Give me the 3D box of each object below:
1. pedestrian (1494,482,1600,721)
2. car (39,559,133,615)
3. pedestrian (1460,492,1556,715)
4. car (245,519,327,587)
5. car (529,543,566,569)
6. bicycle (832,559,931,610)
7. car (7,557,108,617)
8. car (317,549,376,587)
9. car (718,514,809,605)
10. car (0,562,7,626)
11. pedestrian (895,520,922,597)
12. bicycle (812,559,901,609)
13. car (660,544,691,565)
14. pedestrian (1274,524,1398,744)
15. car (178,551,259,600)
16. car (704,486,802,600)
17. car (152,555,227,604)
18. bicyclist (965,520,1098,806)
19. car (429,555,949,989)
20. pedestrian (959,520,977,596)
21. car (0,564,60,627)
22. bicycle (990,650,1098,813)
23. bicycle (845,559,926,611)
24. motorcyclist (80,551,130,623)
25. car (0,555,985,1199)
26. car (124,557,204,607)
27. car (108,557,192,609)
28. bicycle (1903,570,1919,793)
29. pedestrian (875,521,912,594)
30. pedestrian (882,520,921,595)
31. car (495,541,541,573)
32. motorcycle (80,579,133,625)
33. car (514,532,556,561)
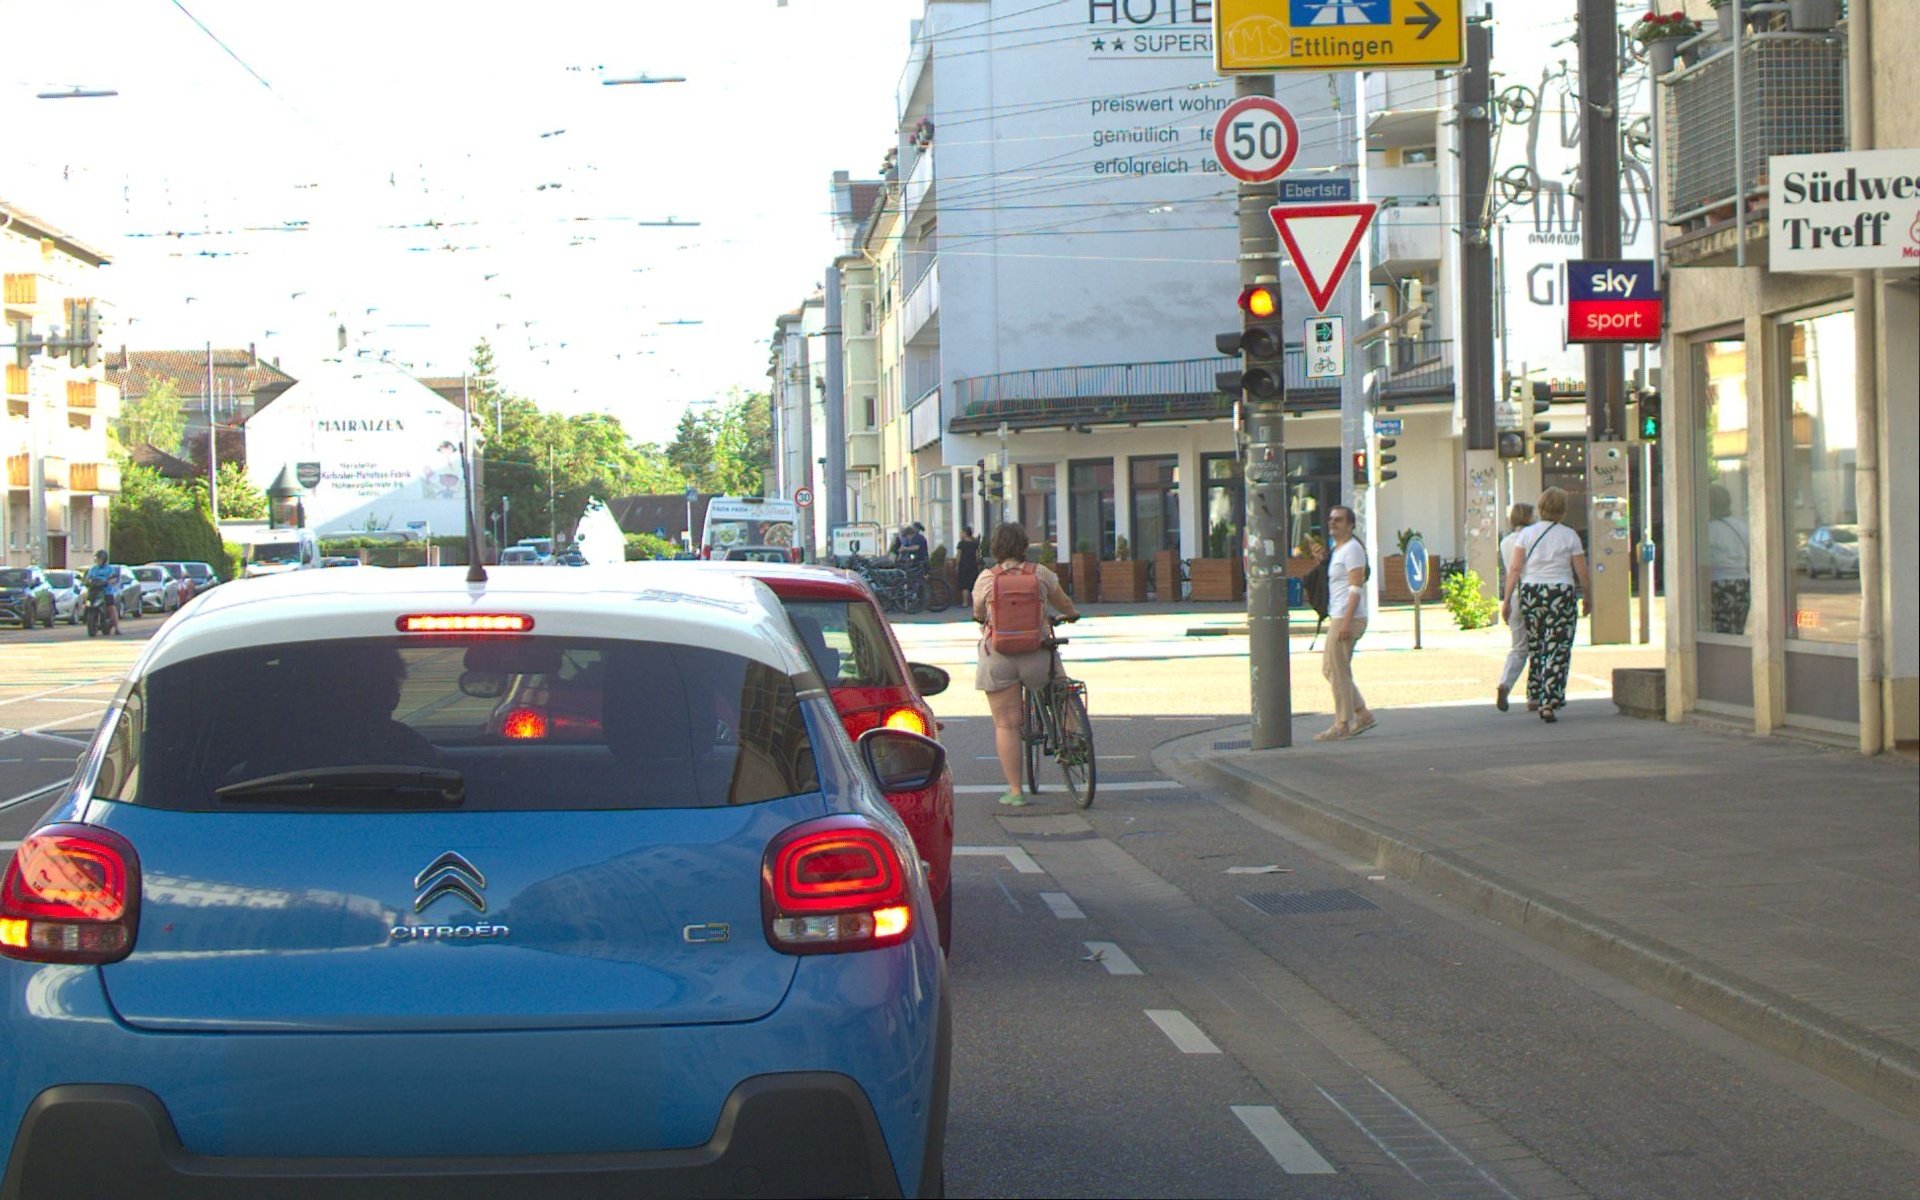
[{"bbox_3d":[4.209,0.003,24.664,0.541,1.666,0.650,-3,1,-2],"label":"pedestrian"},{"bbox_3d":[-24.803,-0.388,97.687,1.910,1.492,4.001,-1,1,-5],"label":"car"},{"bbox_3d":[4.229,0.020,26.558,0.541,1.666,0.624,-3,3,-2],"label":"pedestrian"},{"bbox_3d":[-23.378,-1.643,119.319,2.206,2.243,4.678,-1,1,-4],"label":"car"},{"bbox_3d":[-24.705,-2.649,206.146,2.021,1.520,4.001,-2,1,-4],"label":"car"},{"bbox_3d":[-1.521,-0.305,67.069,1.874,0.953,0.702,-1,1,1],"label":"bicycle"},{"bbox_3d":[-24.140,-0.371,92.115,1.910,1.492,4.001,-1,1,-5],"label":"car"},{"bbox_3d":[-25.770,-1.351,144.506,2.021,1.520,4.001,-1,1,-4],"label":"car"},{"bbox_3d":[-3.871,-0.790,67.537,1.732,1.744,3.214,0,1,-4],"label":"car"},{"bbox_3d":[-23.346,-0.097,79.197,1.910,1.492,4.001,-1,1,-5],"label":"car"},{"bbox_3d":[-1.046,-0.851,69.952,0.491,1.550,0.384,-1,1,-3],"label":"pedestrian"},{"bbox_3d":[-2.062,-0.317,68.428,1.720,0.953,0.702,-1,1,1],"label":"bicycle"},{"bbox_3d":[-18.181,-2.919,219.823,1.754,1.255,3.833,-1,1,-7],"label":"car"},{"bbox_3d":[2.654,0.238,24.247,0.610,1.502,0.542,-1,3,36],"label":"pedestrian"},{"bbox_3d":[-26.201,-0.874,121.607,2.030,1.614,4.511,-1,1,-3],"label":"car"},{"bbox_3d":[-4.363,-1.196,72.447,1.993,2.317,4.001,0,1,-4],"label":"car"},{"bbox_3d":[-26.008,-0.711,116.182,1.870,1.568,4.001,-1,1,-4],"label":"car"},{"bbox_3d":[0.414,0.358,20.305,0.726,1.640,0.790,-1,1,-1],"label":"bicyclist"},{"bbox_3d":[-0.942,0.558,13.661,1.738,1.415,4.000,-1,1,-1],"label":"car"},{"bbox_3d":[0.165,-0.862,70.159,0.284,1.550,0.305,-1,1,-9],"label":"pedestrian"},{"bbox_3d":[-23.873,-0.123,85.980,1.910,1.492,4.001,-1,1,-5],"label":"car"},{"bbox_3d":[0.487,0.763,20.523,0.498,0.861,1.749,-1,1,-3],"label":"bicycle"},{"bbox_3d":[-1.417,-0.290,66.009,1.504,0.953,0.702,-1,1,1],"label":"bicycle"},{"bbox_3d":[-16.688,-0.254,67.139,0.719,1.373,0.911,-1,1,0],"label":"motorcyclist"},{"bbox_3d":[-1.055,0.642,7.438,1.743,1.457,4.001,0,1,-7],"label":"car"},{"bbox_3d":[-25.700,-0.595,111.091,1.910,1.492,4.001,-1,1,-5],"label":"car"},{"bbox_3d":[-24.976,-0.536,106.092,1.910,1.492,4.001,-1,1,-5],"label":"car"},{"bbox_3d":[4.915,0.401,15.801,0.530,1.068,1.811,-1,1,-4],"label":"bicycle"},{"bbox_3d":[-1.442,-0.921,74.502,0.646,1.550,0.493,-2,1,-22],"label":"pedestrian"},{"bbox_3d":[-1.239,-0.899,72.699,0.646,1.550,0.493,-2,1,-22],"label":"pedestrian"},{"bbox_3d":[-21.763,-2.118,169.416,2.021,1.520,4.001,-1,1,-4],"label":"car"},{"bbox_3d":[-16.694,0.030,67.299,0.615,0.861,1.671,-1,1,0],"label":"motorcycle"},{"bbox_3d":[-23.157,-2.943,187.448,2.021,1.520,4.001,-2,1,-4],"label":"car"}]
